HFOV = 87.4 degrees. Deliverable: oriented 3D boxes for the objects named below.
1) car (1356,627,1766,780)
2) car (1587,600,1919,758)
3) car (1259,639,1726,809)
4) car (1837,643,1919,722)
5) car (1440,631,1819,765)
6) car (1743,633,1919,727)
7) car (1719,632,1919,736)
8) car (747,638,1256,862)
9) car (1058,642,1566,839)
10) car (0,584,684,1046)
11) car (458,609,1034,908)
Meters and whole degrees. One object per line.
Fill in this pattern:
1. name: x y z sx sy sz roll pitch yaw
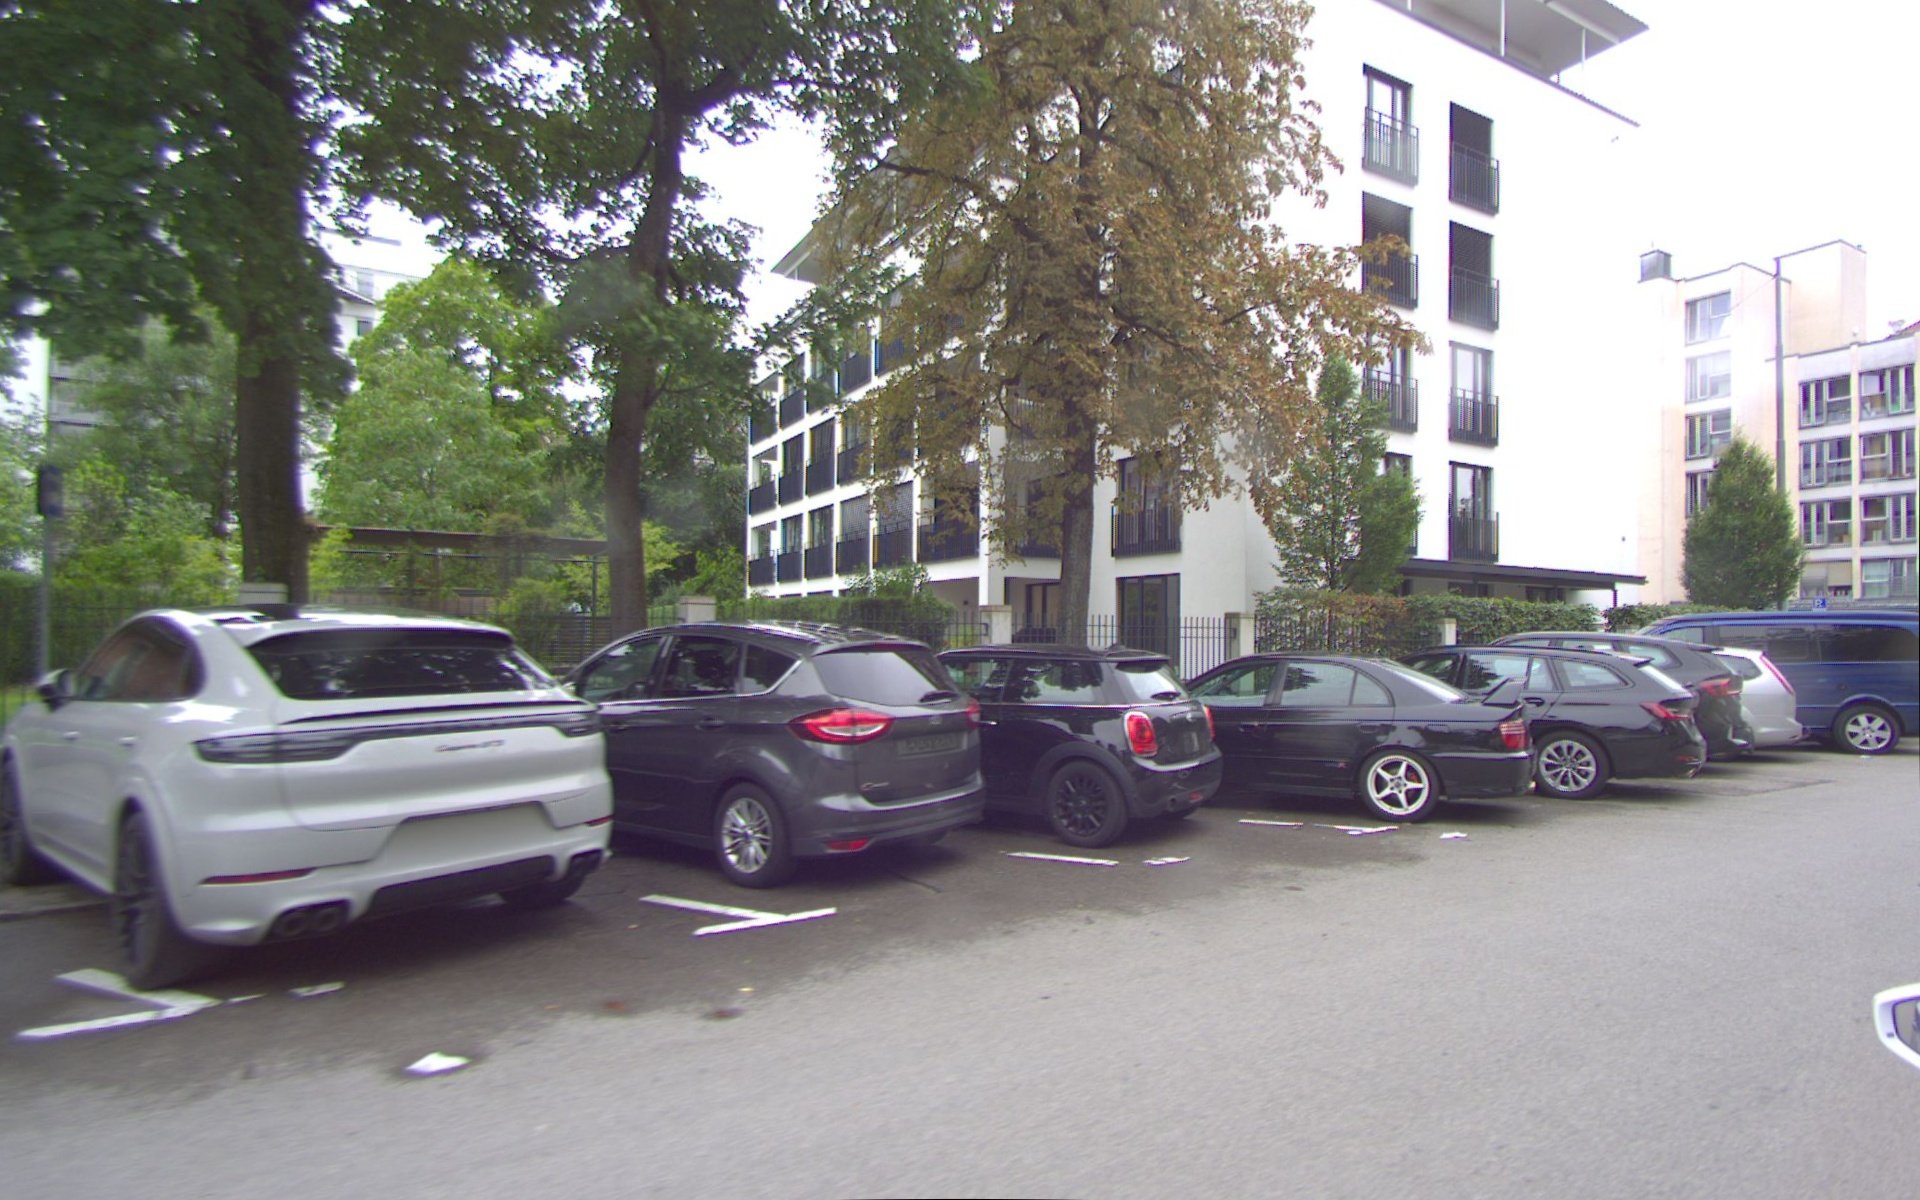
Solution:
1. car: 7.384 1.211 12.661 4.148 1.630 1.732 -2 -3 35
2. car: 11.821 1.133 14.914 4.144 2.093 1.734 -2 -3 31
3. car: 5.544 1.187 10.744 4.153 1.480 1.730 -3 -4 39
4. car: 21.264 1.711 21.010 4.045 1.630 1.735 -2 -3 28
5. car: 9.119 1.295 14.081 4.144 1.630 1.734 -2 -3 31
6. car: 17.844 1.520 19.360 4.046 1.730 1.734 -2 -3 30
7. car: 16.076 1.444 17.708 4.046 1.730 1.734 -2 -3 30
8. car: 0.243 1.094 8.740 4.149 1.480 1.787 -1 -3 36
9. car: 3.168 1.158 9.364 4.142 1.480 1.734 -2 -3 30
10. car: -3.781 0.846 5.781 4.344 1.642 2.078 -1 -3 39
11. car: -1.709 0.929 7.445 4.149 1.619 1.880 -1 -3 36
